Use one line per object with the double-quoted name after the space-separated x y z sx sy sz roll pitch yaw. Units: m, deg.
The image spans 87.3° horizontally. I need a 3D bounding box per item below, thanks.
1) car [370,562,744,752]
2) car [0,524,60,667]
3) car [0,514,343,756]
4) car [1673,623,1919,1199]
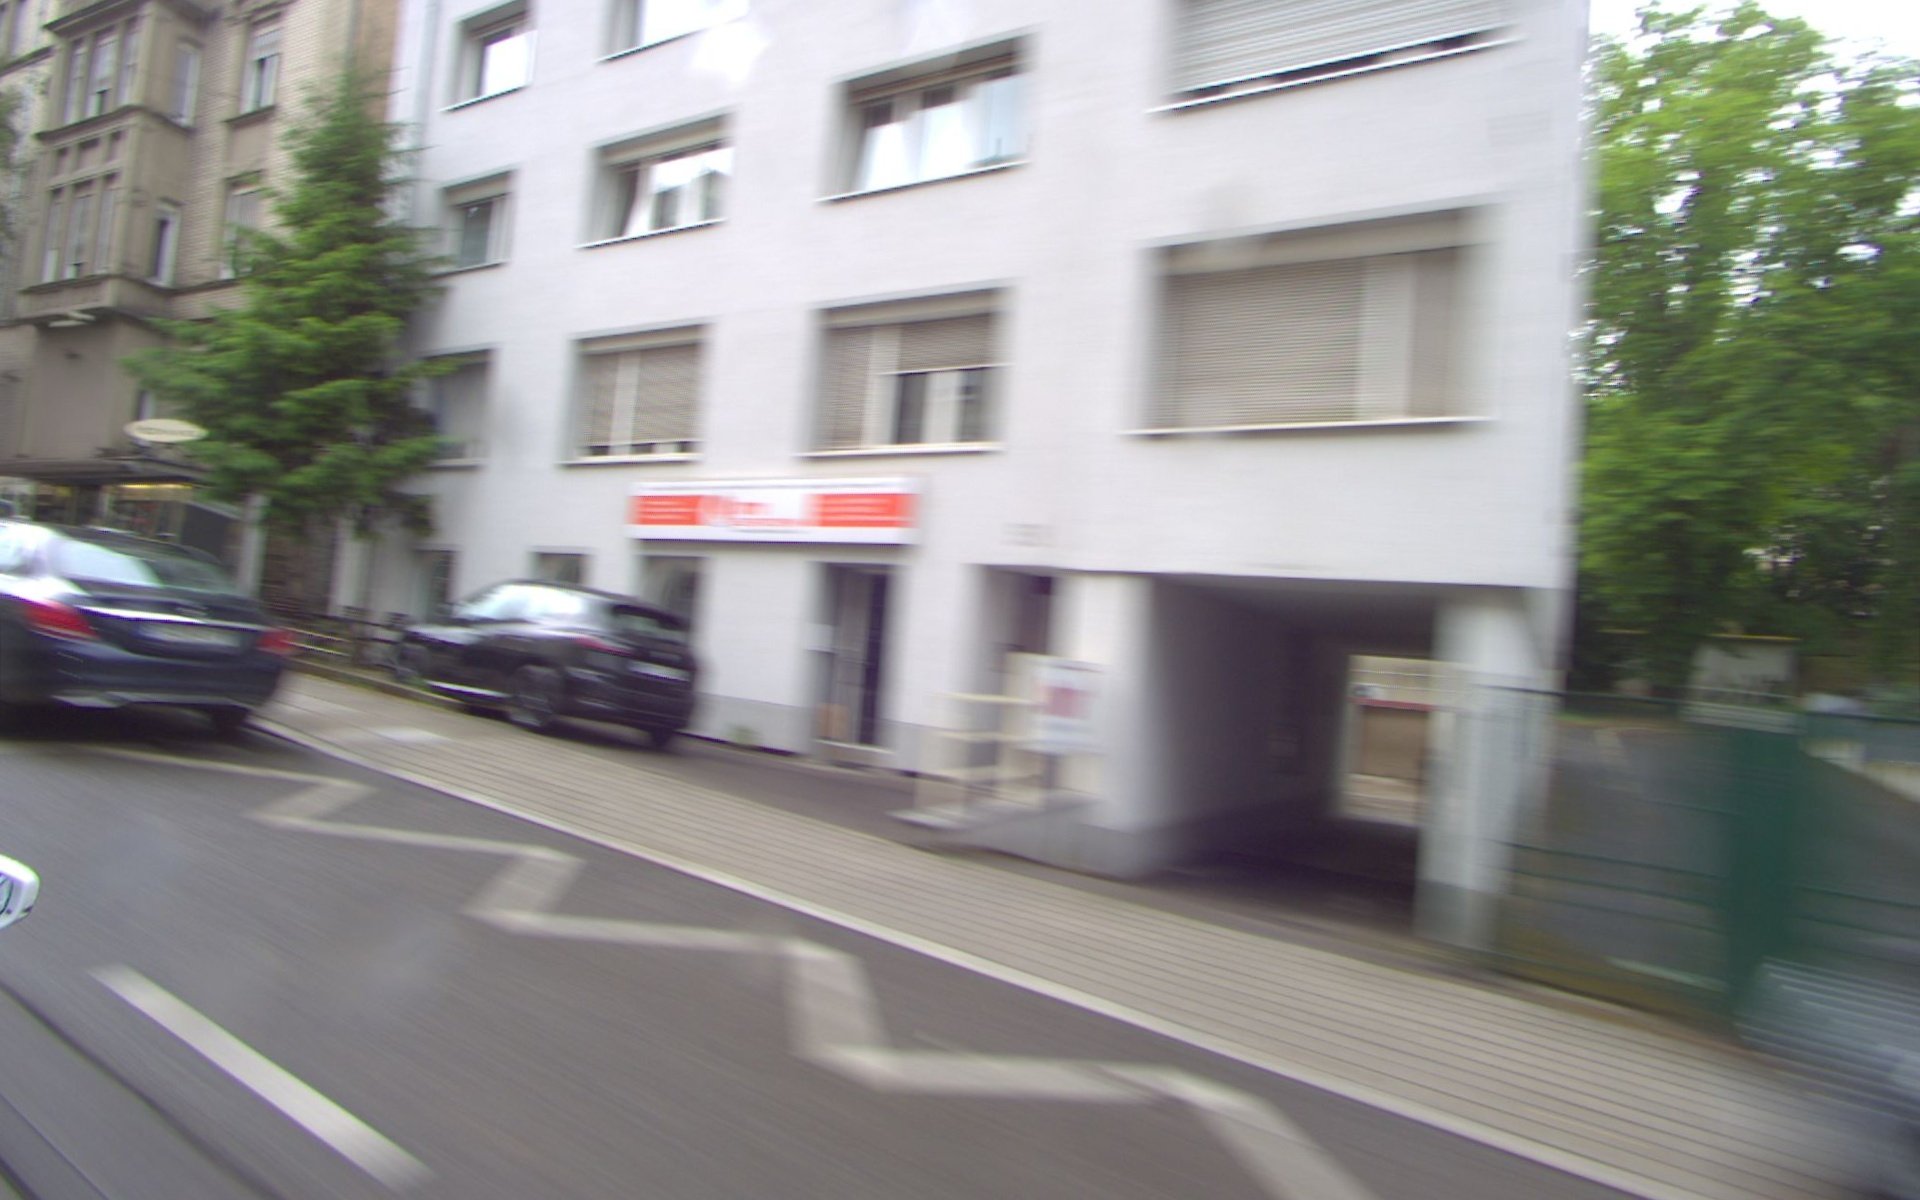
-4.610 0.594 11.316 4.088 1.441 1.817 6 -5 36 "car"
-11.169 -0.298 10.324 3.817 1.352 1.683 7 -4 31 "car"
-7.245 0.123 8.119 4.533 1.452 1.800 7 -4 30 "car"
4.099 1.278 1.400 4.739 1.814 1.949 6 -4 30 "car"
